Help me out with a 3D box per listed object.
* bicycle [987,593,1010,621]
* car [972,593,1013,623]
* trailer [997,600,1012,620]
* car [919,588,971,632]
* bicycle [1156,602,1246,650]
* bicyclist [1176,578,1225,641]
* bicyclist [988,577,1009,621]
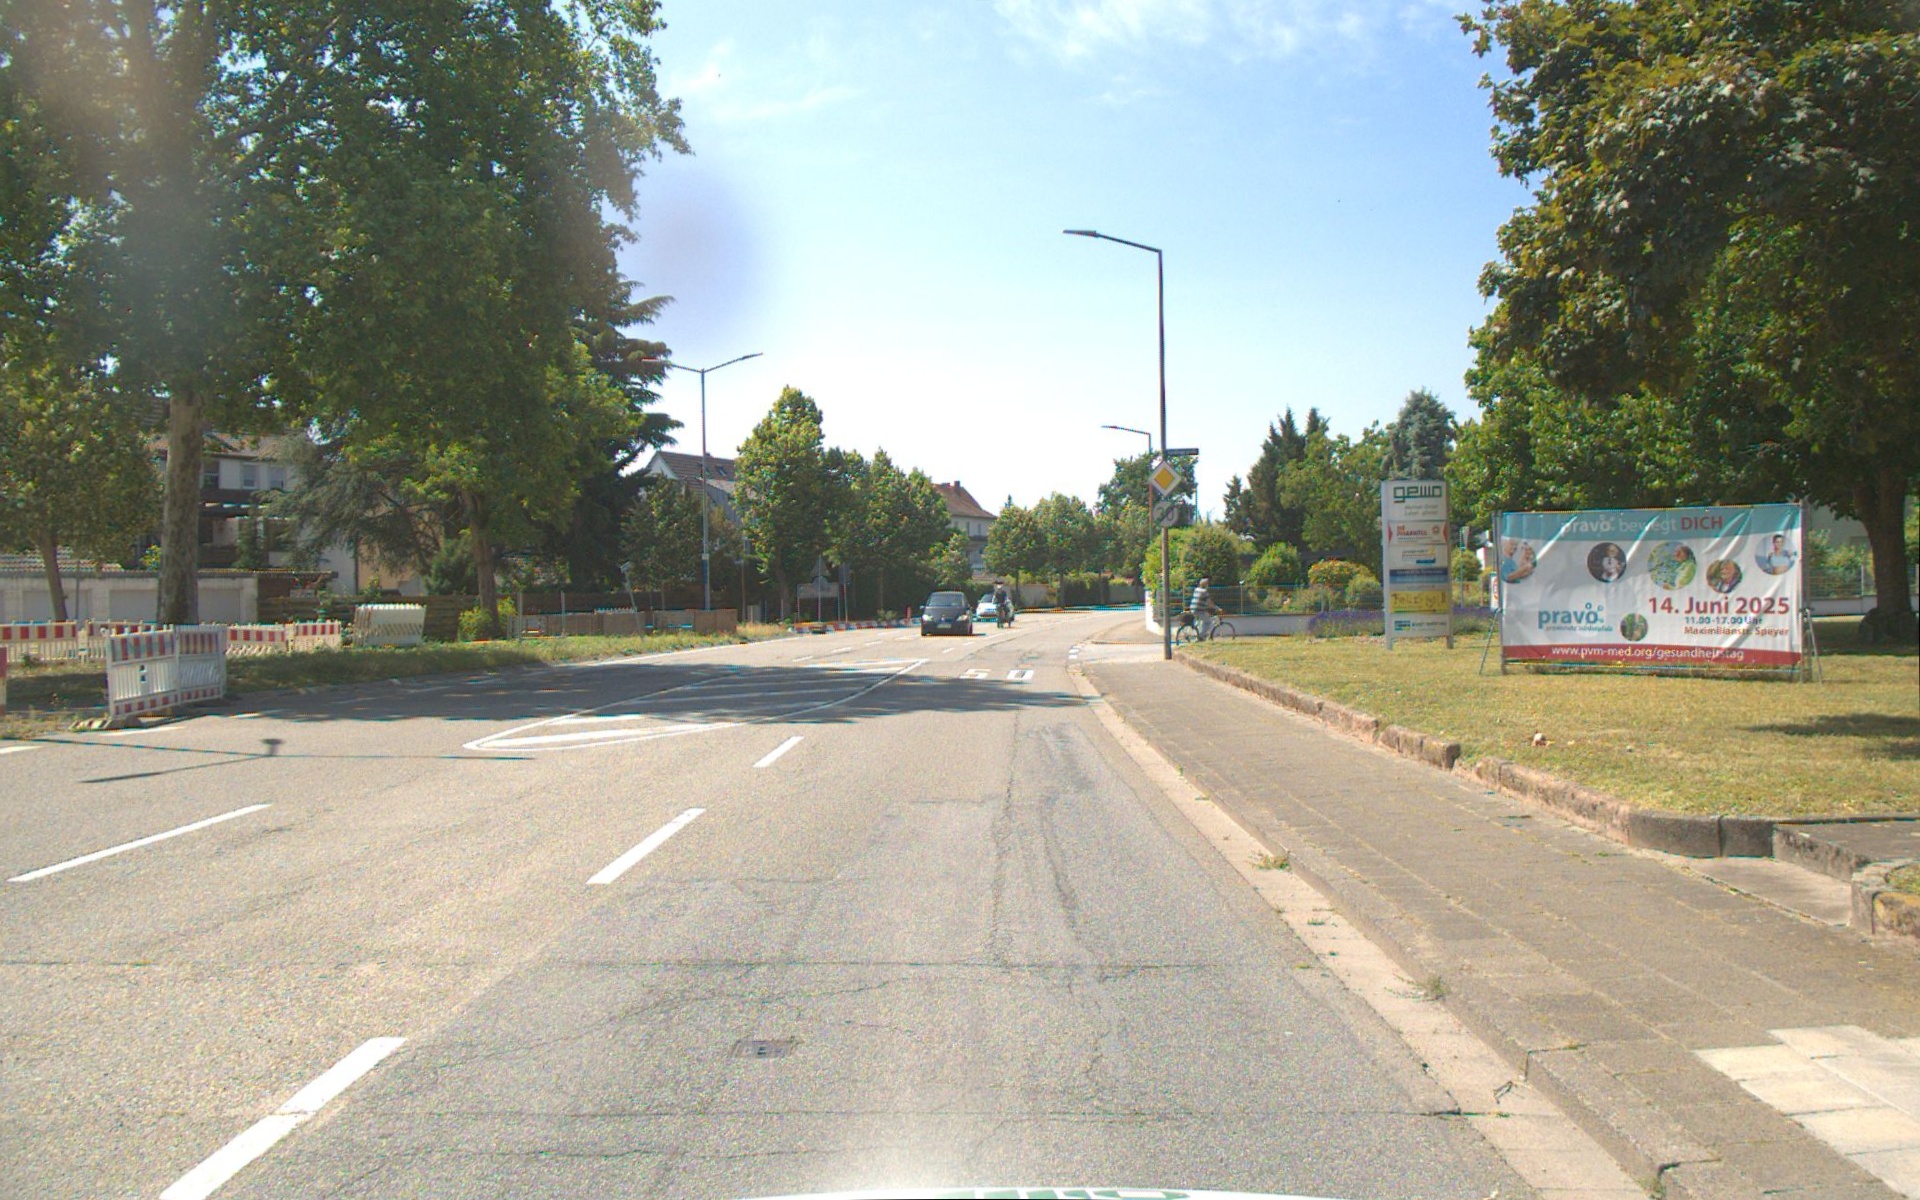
[{"bbox_3d":[1.695,0.313,72.421,0.832,1.186,1.978,-1,0,6],"label":"bicycle"},{"bbox_3d":[1.769,0.423,89.443,1.662,1.536,3.462,0,0,10],"label":"car"},{"bbox_3d":[1.988,0.455,73.962,0.558,0.871,1.133,-1,0,6],"label":"trailer"},{"bbox_3d":[-0.524,0.342,61.125,1.689,1.559,3.832,0,0,3],"label":"car"},{"bbox_3d":[6.126,0.643,42.037,2.108,1.122,0.811,-2,0,-21],"label":"bicycle"},{"bbox_3d":[6.108,0.231,42.033,0.912,1.557,0.851,-2,0,-21],"label":"bicyclist"},{"bbox_3d":[1.690,-0.059,72.436,0.828,1.898,0.977,-1,0,6],"label":"bicyclist"}]
